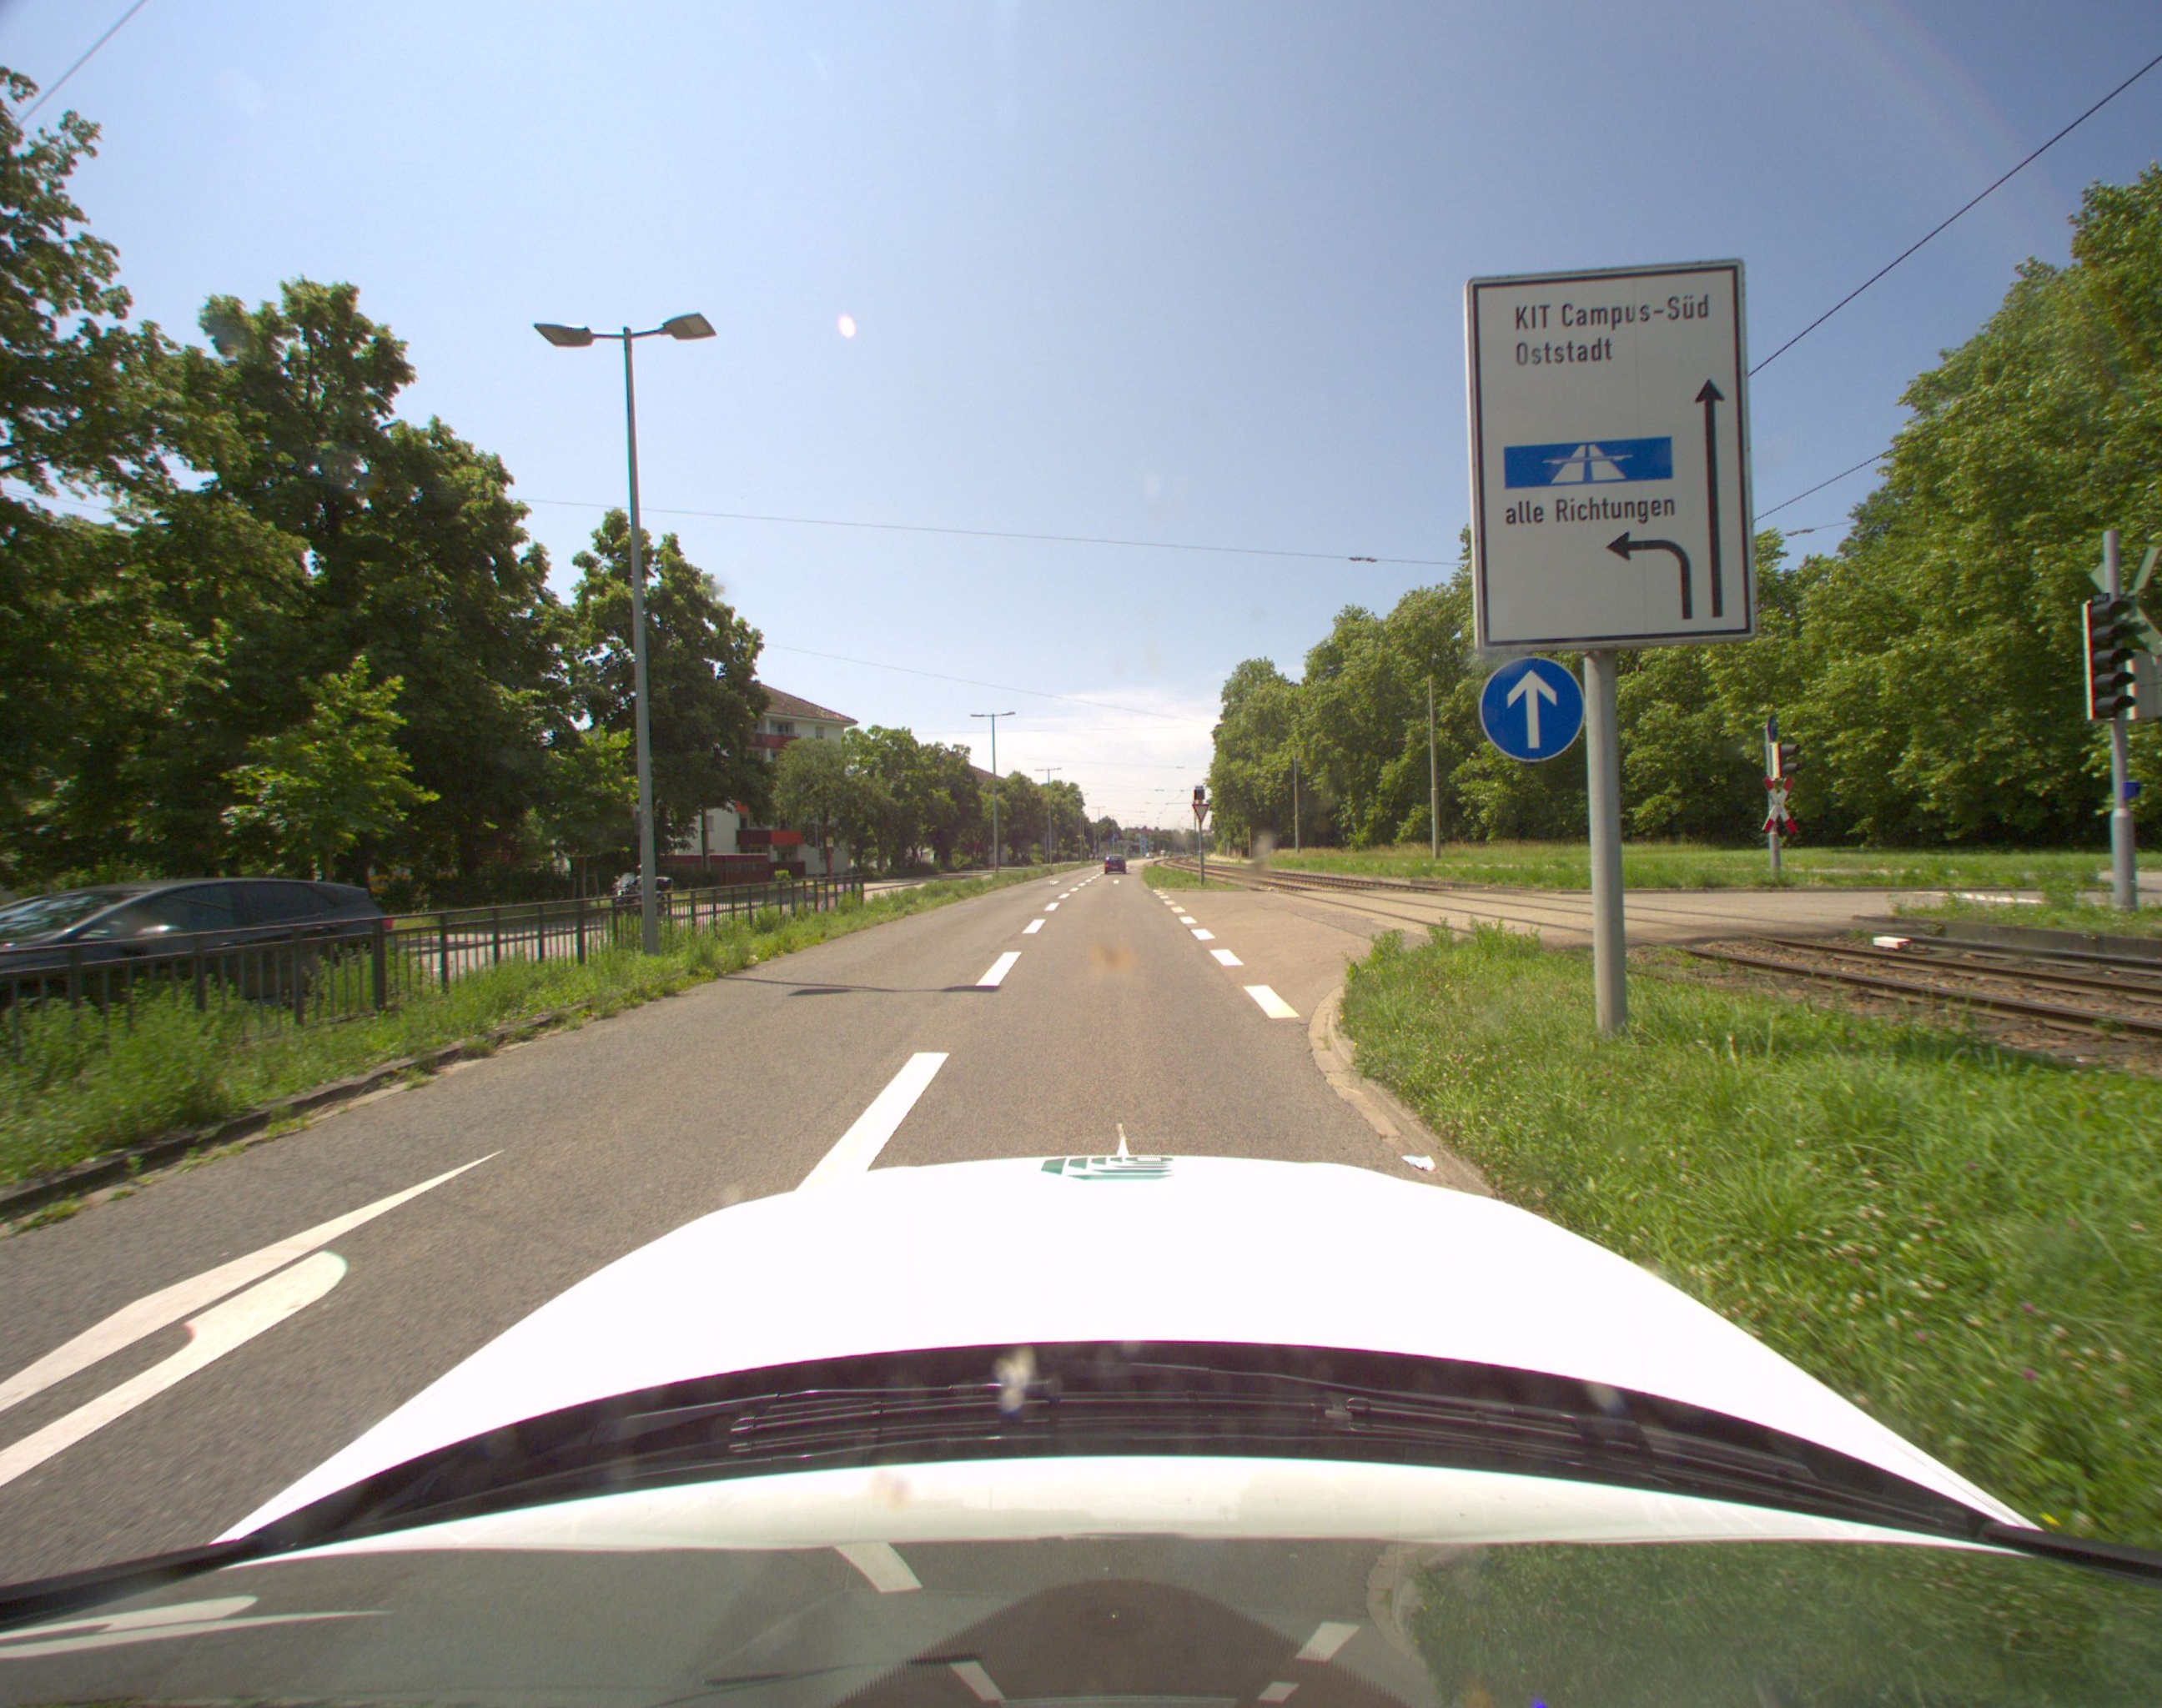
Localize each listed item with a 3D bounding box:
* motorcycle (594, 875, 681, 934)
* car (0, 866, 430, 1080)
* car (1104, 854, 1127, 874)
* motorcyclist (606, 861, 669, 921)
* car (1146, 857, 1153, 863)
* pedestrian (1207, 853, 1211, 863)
[{"bbox_3d":[-10.891,1.202,20.115,0.803,1.299,2.394,-2,0,0],"label":"motorcycle"},{"bbox_3d":[-8.960,0.955,7.943,1.750,1.543,4.162,-2,0,1],"label":"car"},{"bbox_3d":[2.649,0.790,62.853,1.696,1.477,3.718,0,-1,2],"label":"car"},{"bbox_3d":[-10.906,0.888,20.083,0.734,1.403,1.511,-2,0,-3],"label":"motorcyclist"},{"bbox_3d":[17.206,1.496,205.719,1.695,1.481,3.720,0,-1,4],"label":"car"},{"bbox_3d":[23.791,0.773,151.357,0.658,1.726,0.818,-2,-1,8],"label":"pedestrian"}]
